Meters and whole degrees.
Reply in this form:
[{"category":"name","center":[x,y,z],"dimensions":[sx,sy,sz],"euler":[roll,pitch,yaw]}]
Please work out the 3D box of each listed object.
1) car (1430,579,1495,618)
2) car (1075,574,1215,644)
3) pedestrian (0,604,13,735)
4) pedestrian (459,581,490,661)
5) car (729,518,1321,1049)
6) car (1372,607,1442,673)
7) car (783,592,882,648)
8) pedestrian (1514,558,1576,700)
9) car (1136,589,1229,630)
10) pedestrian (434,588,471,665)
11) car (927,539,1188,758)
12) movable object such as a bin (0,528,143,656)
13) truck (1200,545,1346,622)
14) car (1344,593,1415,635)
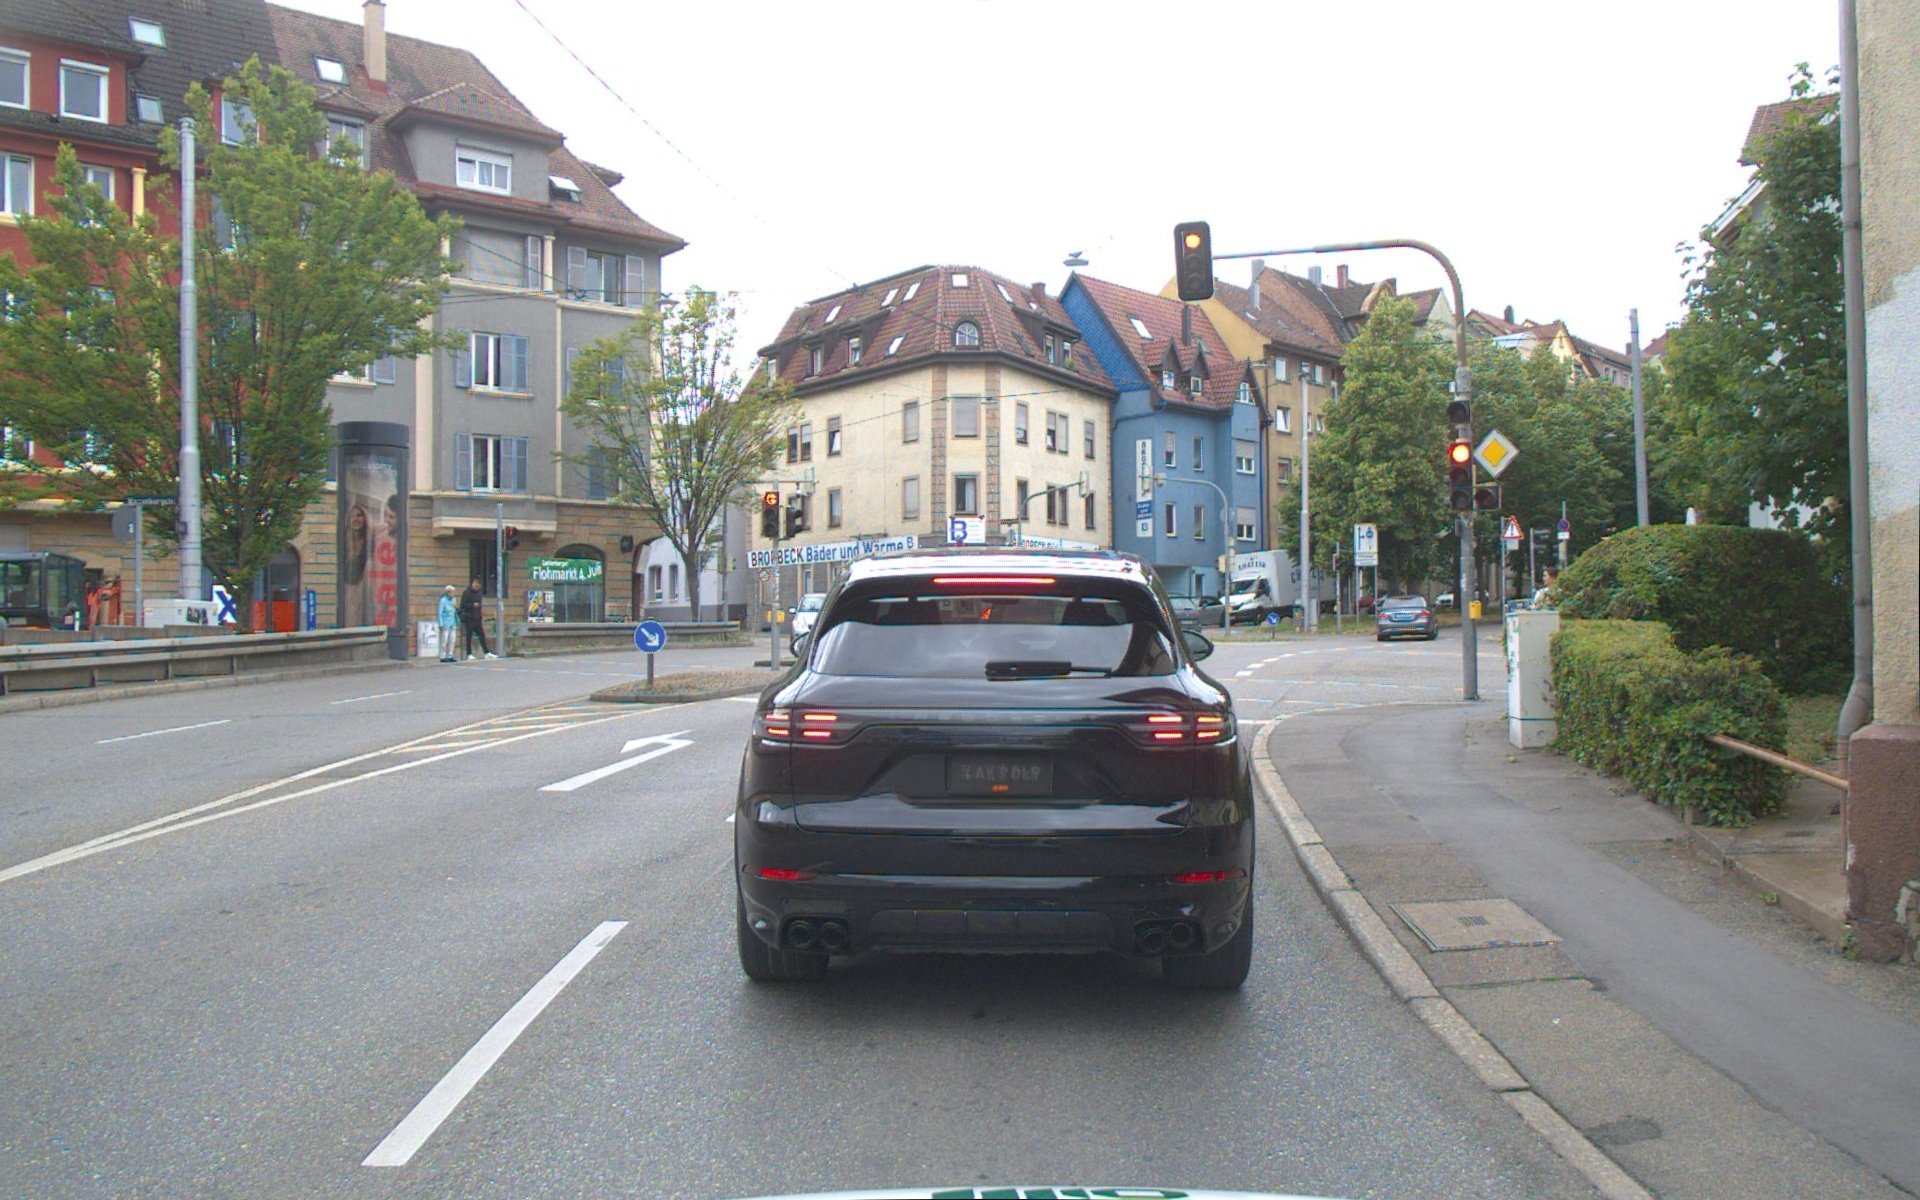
[{"category":"car","center":[28.451,-0.091,93.637],"dimensions":[1.965,2.049,3.975],"euler":[2,-1,42]},{"category":"car","center":[5.679,0.259,50.985],"dimensions":[1.984,2.049,3.937],"euler":[2,-1,-43]},{"category":"pedestrian","center":[-13.286,0.932,22.555],"dimensions":[0.537,1.760,0.586],"euler":[2,-1,-35]},{"category":"pedestrian","center":[-10.900,0.465,37.128],"dimensions":[0.503,1.760,0.451],"euler":[2,-1,1]},{"category":"car","center":[0.104,0.567,7.397],"dimensions":[1.939,1.713,3.997],"euler":[0,1,-4]},{"category":"car","center":[14.744,1.315,54.407],"dimensions":[1.952,2.049,4.001],"euler":[1,-1,18]},{"category":"car","center":[-3.740,0.610,49.105],"dimensions":[1.849,1.607,3.972],"euler":[0,-1,12]},{"category":"pedestrian","center":[7.794,0.383,22.040],"dimensions":[0.577,1.851,0.529],"euler":[2,-1,-2]},{"category":"car","center":[9.635,0.412,71.461],"dimensions":[3.968,1.713,1.968],"euler":[0,0,-43]},{"category":"pedestrian","center":[-10.674,0.555,34.785],"dimensions":[0.577,1.594,0.486],"euler":[2,-1,-1]},{"category":"car","center":[1.032,0.380,15.064],"dimensions":[1.951,1.713,4.003],"euler":[0,0,10]},{"category":"movable object such as a bin","center":[-14.193,-0.142,25.604],"dimensions":[1.870,1.802,3.986],"euler":[2,0,-14]},{"category":"truck","center":[15.019,-0.715,78.812],"dimensions":[2.830,3.398,8.744],"euler":[2,0,41]},{"category":"car","center":[21.948,0.729,86.503],"dimensions":[1.965,2.049,3.975],"euler":[2,-1,42]}]
